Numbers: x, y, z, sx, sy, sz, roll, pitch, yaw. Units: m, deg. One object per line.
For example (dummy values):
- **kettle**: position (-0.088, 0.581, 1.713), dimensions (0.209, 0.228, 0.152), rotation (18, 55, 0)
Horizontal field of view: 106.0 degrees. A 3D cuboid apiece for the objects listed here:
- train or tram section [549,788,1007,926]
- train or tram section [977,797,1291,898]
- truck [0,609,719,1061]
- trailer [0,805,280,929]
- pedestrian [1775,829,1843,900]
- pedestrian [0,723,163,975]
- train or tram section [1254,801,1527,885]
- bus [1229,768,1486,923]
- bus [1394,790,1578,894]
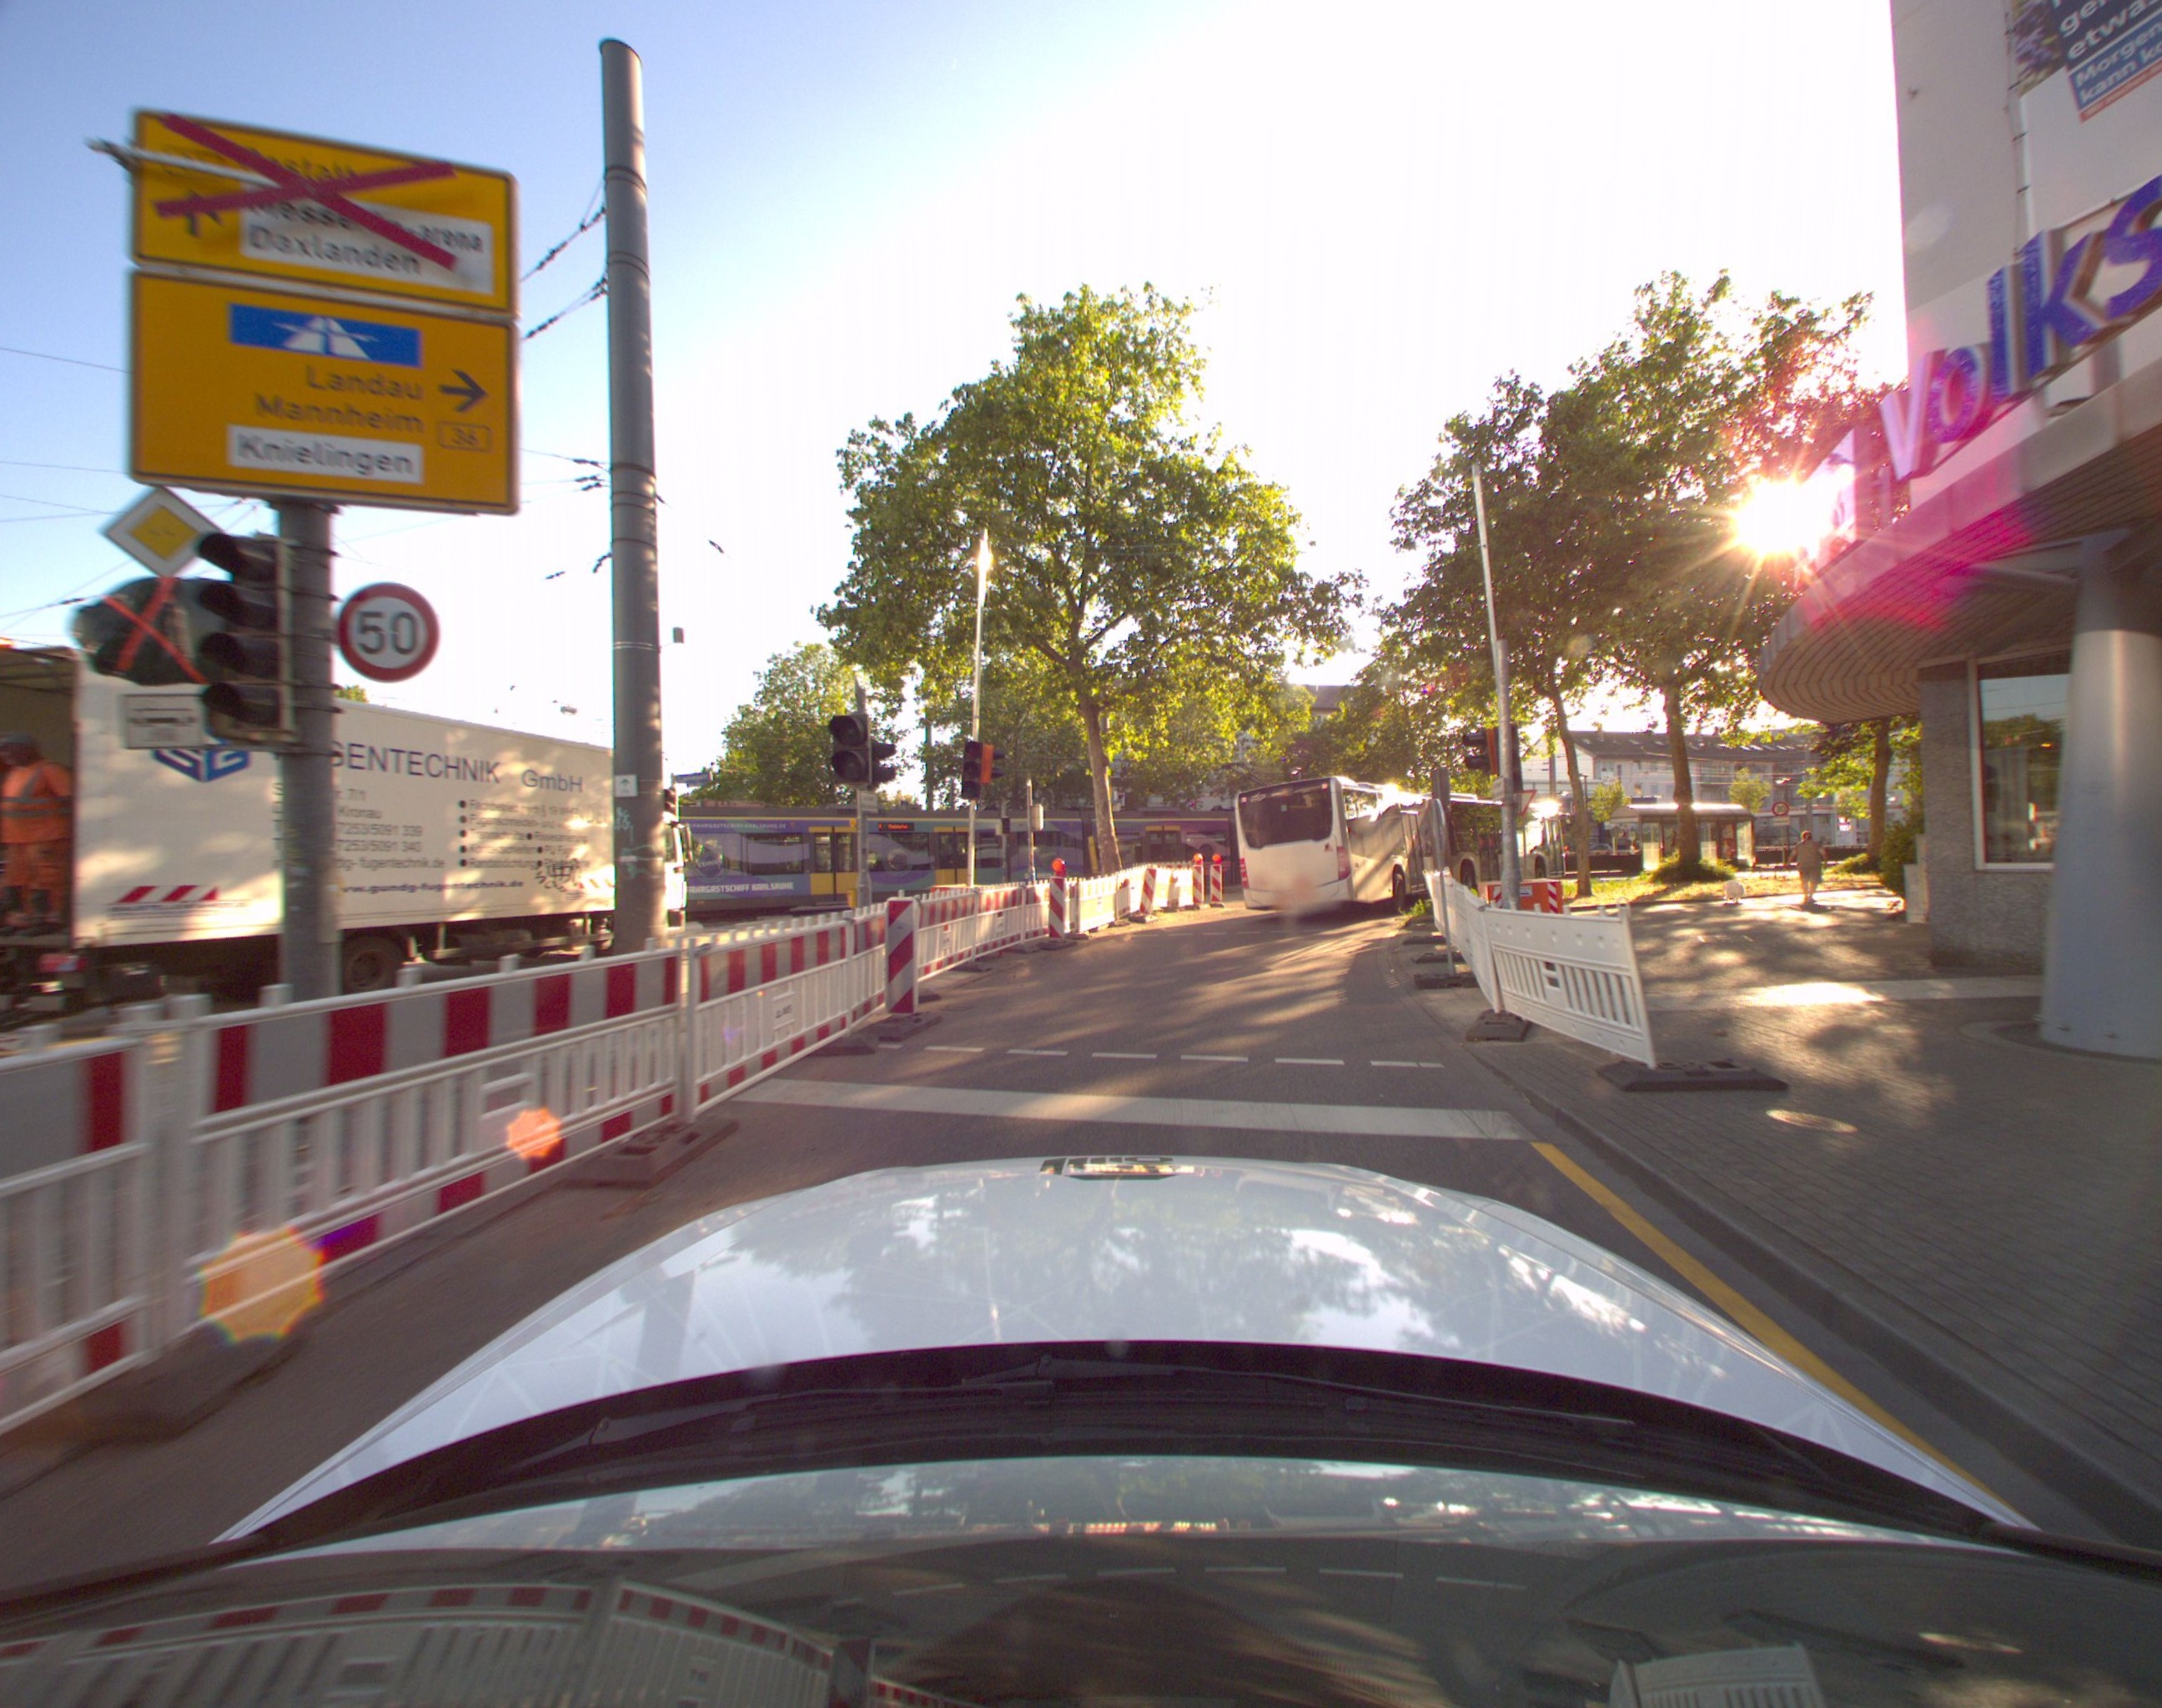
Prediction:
- **train or tram section**: position (-8.914, 0.025, 26.079), dimensions (13.456, 3.533, 2.827), rotation (-1, -1, -37)
- **train or tram section**: position (2.400, -0.314, 32.780), dimensions (12.803, 3.549, 2.715), rotation (-1, -1, -25)
- **truck**: position (-8.978, -0.138, 10.798), dimensions (2.793, 3.541, 9.012), rotation (-1, 0, 12)
- **trailer**: position (-33.642, 0.386, 27.239), dimensions (2.859, 3.797, 9.305), rotation (0, 0, 30)
- **pedestrian**: position (15.515, 0.217, 17.366), dimensions (0.817, 1.474, 0.786), rotation (-1, -1, -24)
- **pedestrian**: position (-9.027, -0.044, 7.065), dimensions (0.931, 2.013, 1.004), rotation (-1, 1, 9)
- **train or tram section**: position (14.539, -0.550, 37.740), dimensions (13.335, 3.519, 2.631), rotation (-1, -1, -20)
- **bus**: position (7.839, -0.258, 21.582), dimensions (2.707, 3.139, 10.771), rotation (-2, 0, 40)
- **bus**: position (14.271, -0.440, 28.232), dimensions (9.031, 3.107, 2.684), rotation (-2, 0, -43)
